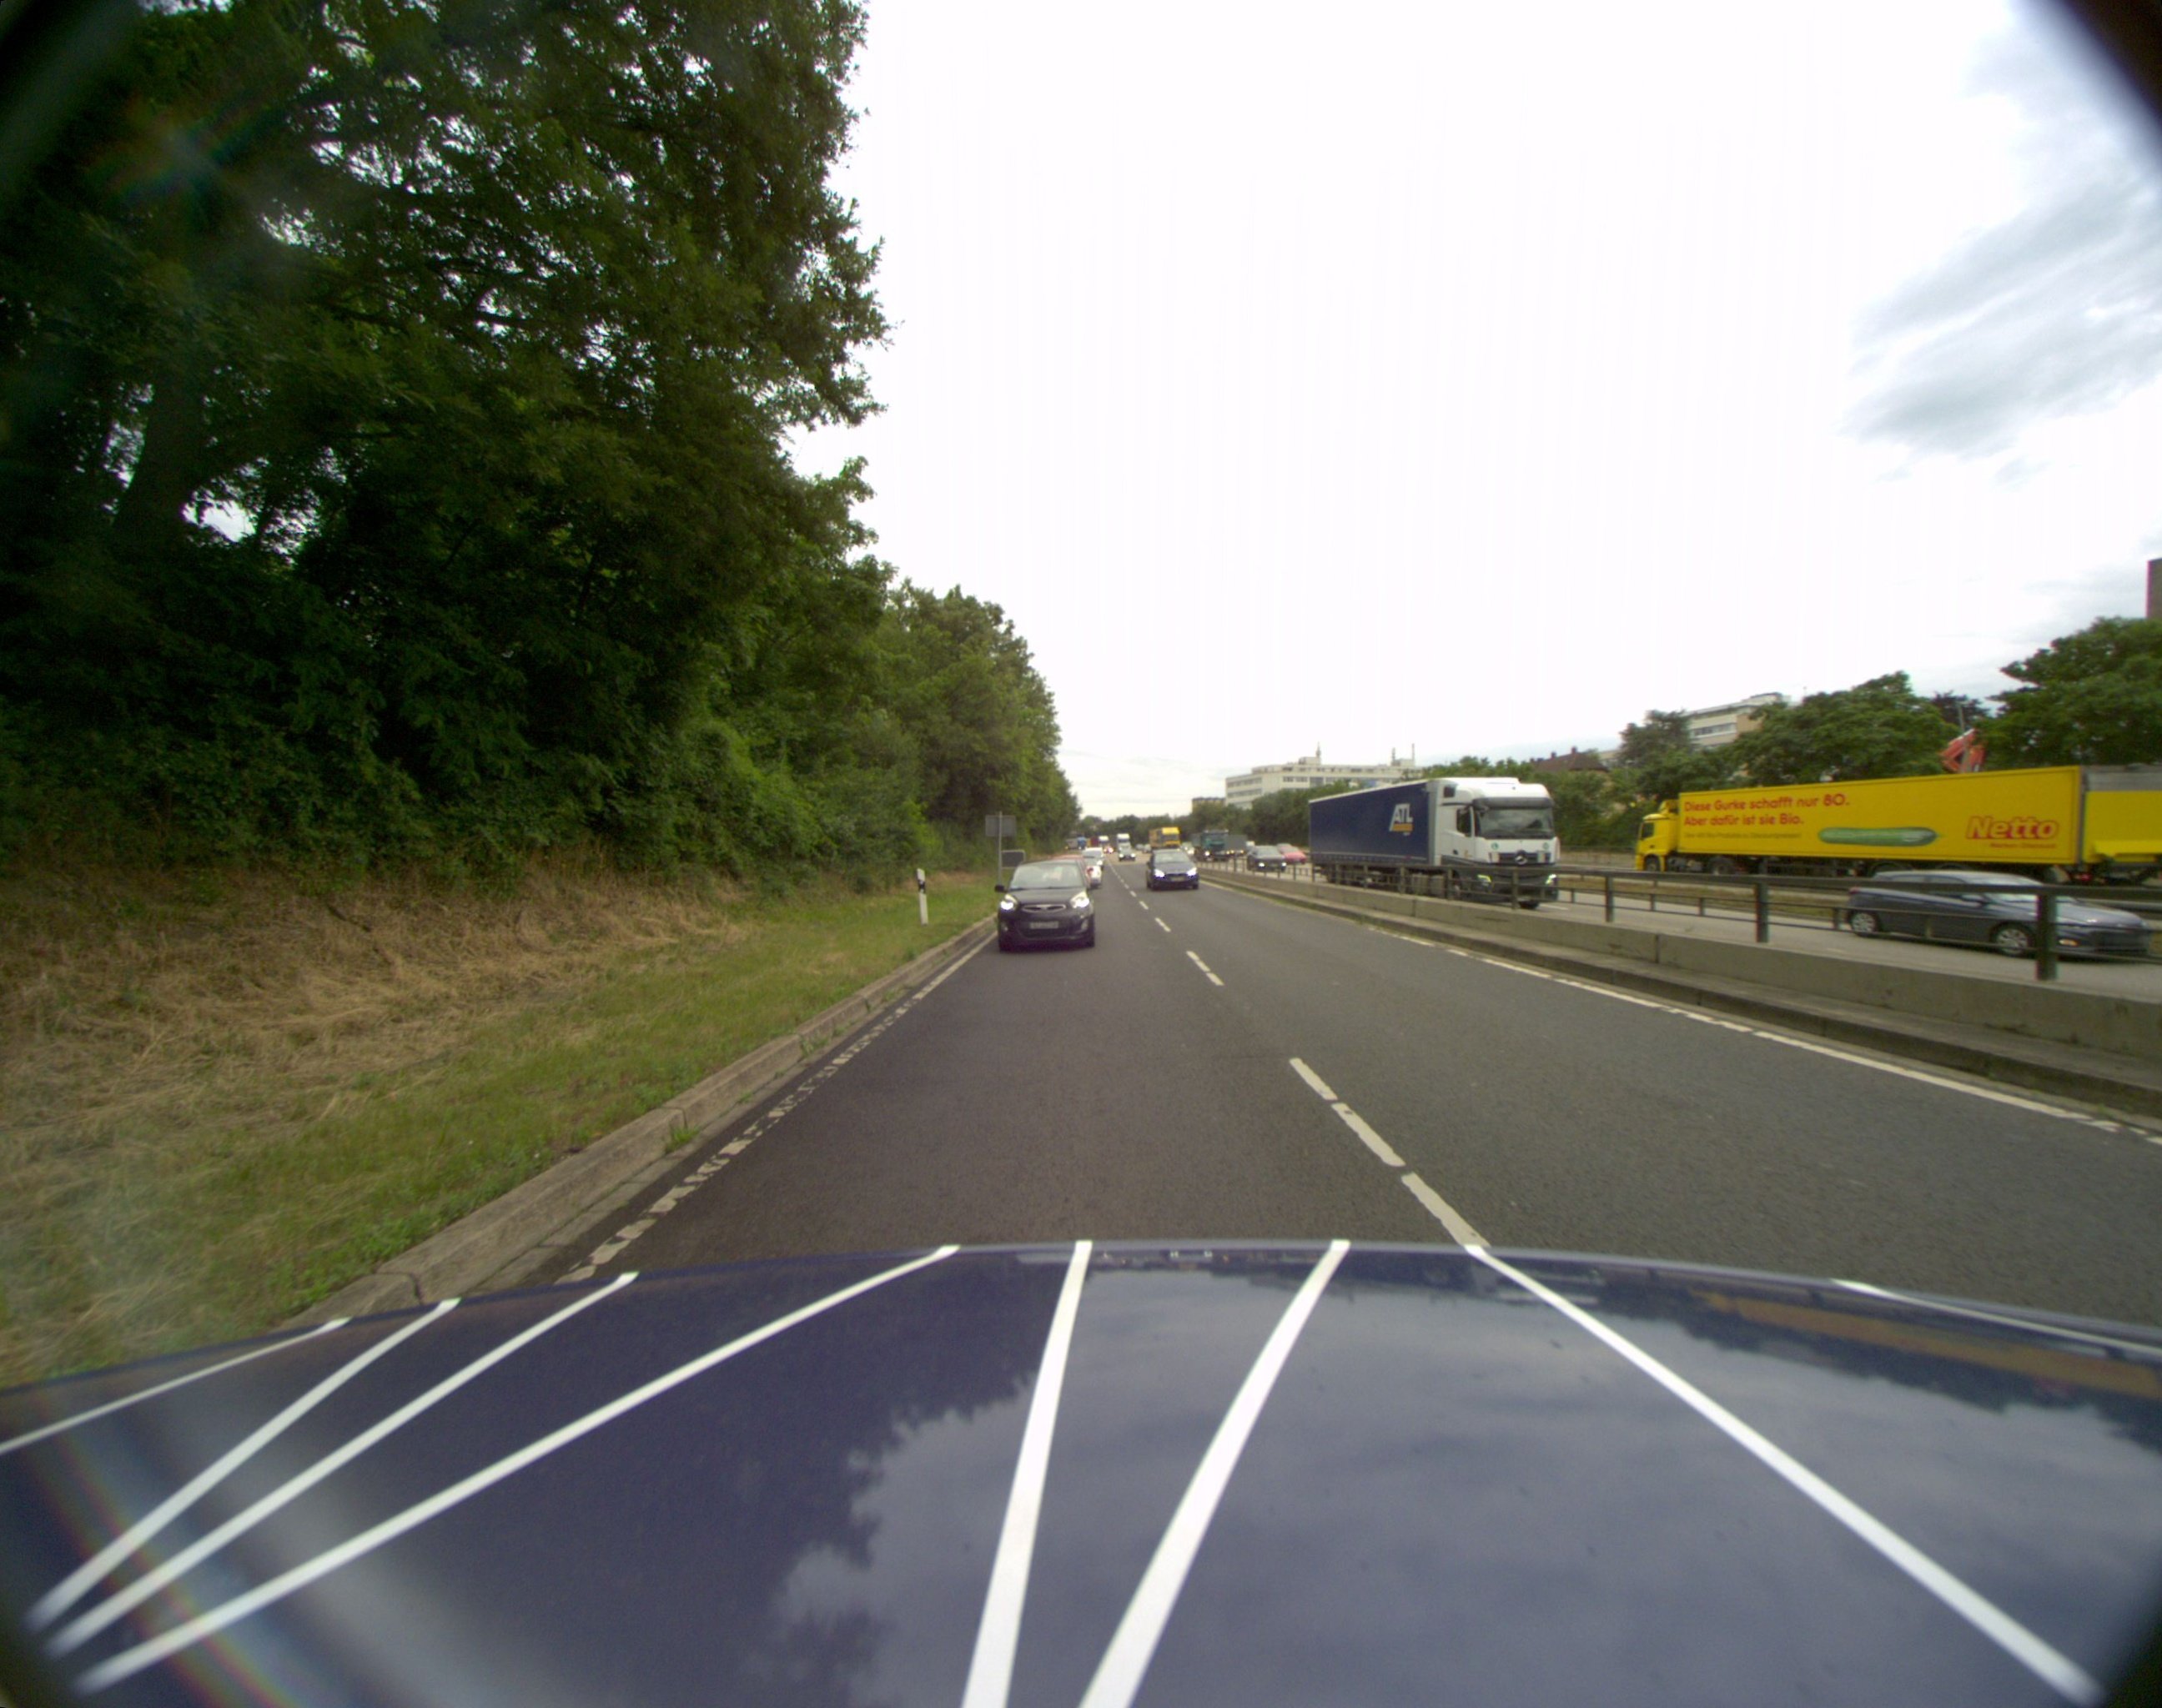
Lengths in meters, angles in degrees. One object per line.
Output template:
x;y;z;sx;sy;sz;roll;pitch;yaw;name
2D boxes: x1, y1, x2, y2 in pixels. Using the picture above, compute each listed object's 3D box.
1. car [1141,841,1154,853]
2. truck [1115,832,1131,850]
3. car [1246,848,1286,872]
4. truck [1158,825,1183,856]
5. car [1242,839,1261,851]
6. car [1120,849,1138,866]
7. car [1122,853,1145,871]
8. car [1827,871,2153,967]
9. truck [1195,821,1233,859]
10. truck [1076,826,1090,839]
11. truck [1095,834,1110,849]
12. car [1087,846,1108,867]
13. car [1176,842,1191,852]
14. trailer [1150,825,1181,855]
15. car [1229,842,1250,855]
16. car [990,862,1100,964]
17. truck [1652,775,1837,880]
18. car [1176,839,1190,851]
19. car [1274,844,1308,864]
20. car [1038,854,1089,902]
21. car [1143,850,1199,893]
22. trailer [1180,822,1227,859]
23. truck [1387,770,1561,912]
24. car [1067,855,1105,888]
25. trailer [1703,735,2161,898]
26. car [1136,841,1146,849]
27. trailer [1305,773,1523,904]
12.097;-1.273;138.853;1.998;2.002;3.999;-2;1;0;car
9.817;-3.113;179.828;2.957;4.013;13.775;-1;1;0;truck
12.166;0.343;50.144;1.627;1.433;3.999;-2;1;1;car
13.025;-1.998;111.026;2.893;4.319;6.518;-1;1;1;truck
28.643;-1.441;127.826;1.999;2.002;3.998;0;0;-4;car
5.489;0.369;87.613;1.769;1.786;4.577;-2;1;1;car
4.337;0.651;63.138;1.627;1.337;3.999;-2;1;1;car
17.162;1.136;14.701;1.628;1.433;3.896;0;1;0;car
13.095;-1.349;75.421;2.645;3.614;6.666;-1;1;1;truck
0.557;-7.184;253.263;2.533;4.013;13.766;-1;1;-8;truck
6.025;-3.460;215.975;2.532;4.013;13.769;-1;1;-5;truck
1.509;0.224;68.844;1.769;1.786;4.577;-2;1;1;car
16.771;-1.089;124.469;1.784;1.554;4.421;-2;1;1;car
13.117;-2.113;119.729;2.898;4.328;19.919;-1;1;1;trailer
18.410;-0.676;88.441;1.627;1.433;3.999;-2;1;1;car
-0.532;0.931;13.706;1.627;1.433;3.999;-2;1;1;car
27.855;-1.069;32.345;2.531;4.013;6.096;-1;1;0;truck
18.278;-1.632;136.296;1.998;2.002;4.000;-2;1;1;car
16.910;-0.023;61.245;1.627;1.433;3.999;-2;1;1;car
-0.547;0.791;26.842;1.627;1.433;3.999;-2;1;1;car
3.615;0.649;31.330;1.784;1.554;4.421;-2;1;1;car
13.169;-1.439;83.185;2.613;3.620;16.747;-1;1;1;trailer
12.352;-0.402;24.581;2.531;4.013;6.096;-1;1;1;truck
0.239;0.783;36.014;1.627;1.337;3.999;-2;1;1;car
27.801;-1.029;25.545;2.531;4.013;13.774;-1;1;0;trailer
14.540;-2.187;183.569;1.998;2.002;3.999;-1;1;0;car
12.441;-0.577;30.839;2.531;4.013;14.782;-1;1;1;trailer
